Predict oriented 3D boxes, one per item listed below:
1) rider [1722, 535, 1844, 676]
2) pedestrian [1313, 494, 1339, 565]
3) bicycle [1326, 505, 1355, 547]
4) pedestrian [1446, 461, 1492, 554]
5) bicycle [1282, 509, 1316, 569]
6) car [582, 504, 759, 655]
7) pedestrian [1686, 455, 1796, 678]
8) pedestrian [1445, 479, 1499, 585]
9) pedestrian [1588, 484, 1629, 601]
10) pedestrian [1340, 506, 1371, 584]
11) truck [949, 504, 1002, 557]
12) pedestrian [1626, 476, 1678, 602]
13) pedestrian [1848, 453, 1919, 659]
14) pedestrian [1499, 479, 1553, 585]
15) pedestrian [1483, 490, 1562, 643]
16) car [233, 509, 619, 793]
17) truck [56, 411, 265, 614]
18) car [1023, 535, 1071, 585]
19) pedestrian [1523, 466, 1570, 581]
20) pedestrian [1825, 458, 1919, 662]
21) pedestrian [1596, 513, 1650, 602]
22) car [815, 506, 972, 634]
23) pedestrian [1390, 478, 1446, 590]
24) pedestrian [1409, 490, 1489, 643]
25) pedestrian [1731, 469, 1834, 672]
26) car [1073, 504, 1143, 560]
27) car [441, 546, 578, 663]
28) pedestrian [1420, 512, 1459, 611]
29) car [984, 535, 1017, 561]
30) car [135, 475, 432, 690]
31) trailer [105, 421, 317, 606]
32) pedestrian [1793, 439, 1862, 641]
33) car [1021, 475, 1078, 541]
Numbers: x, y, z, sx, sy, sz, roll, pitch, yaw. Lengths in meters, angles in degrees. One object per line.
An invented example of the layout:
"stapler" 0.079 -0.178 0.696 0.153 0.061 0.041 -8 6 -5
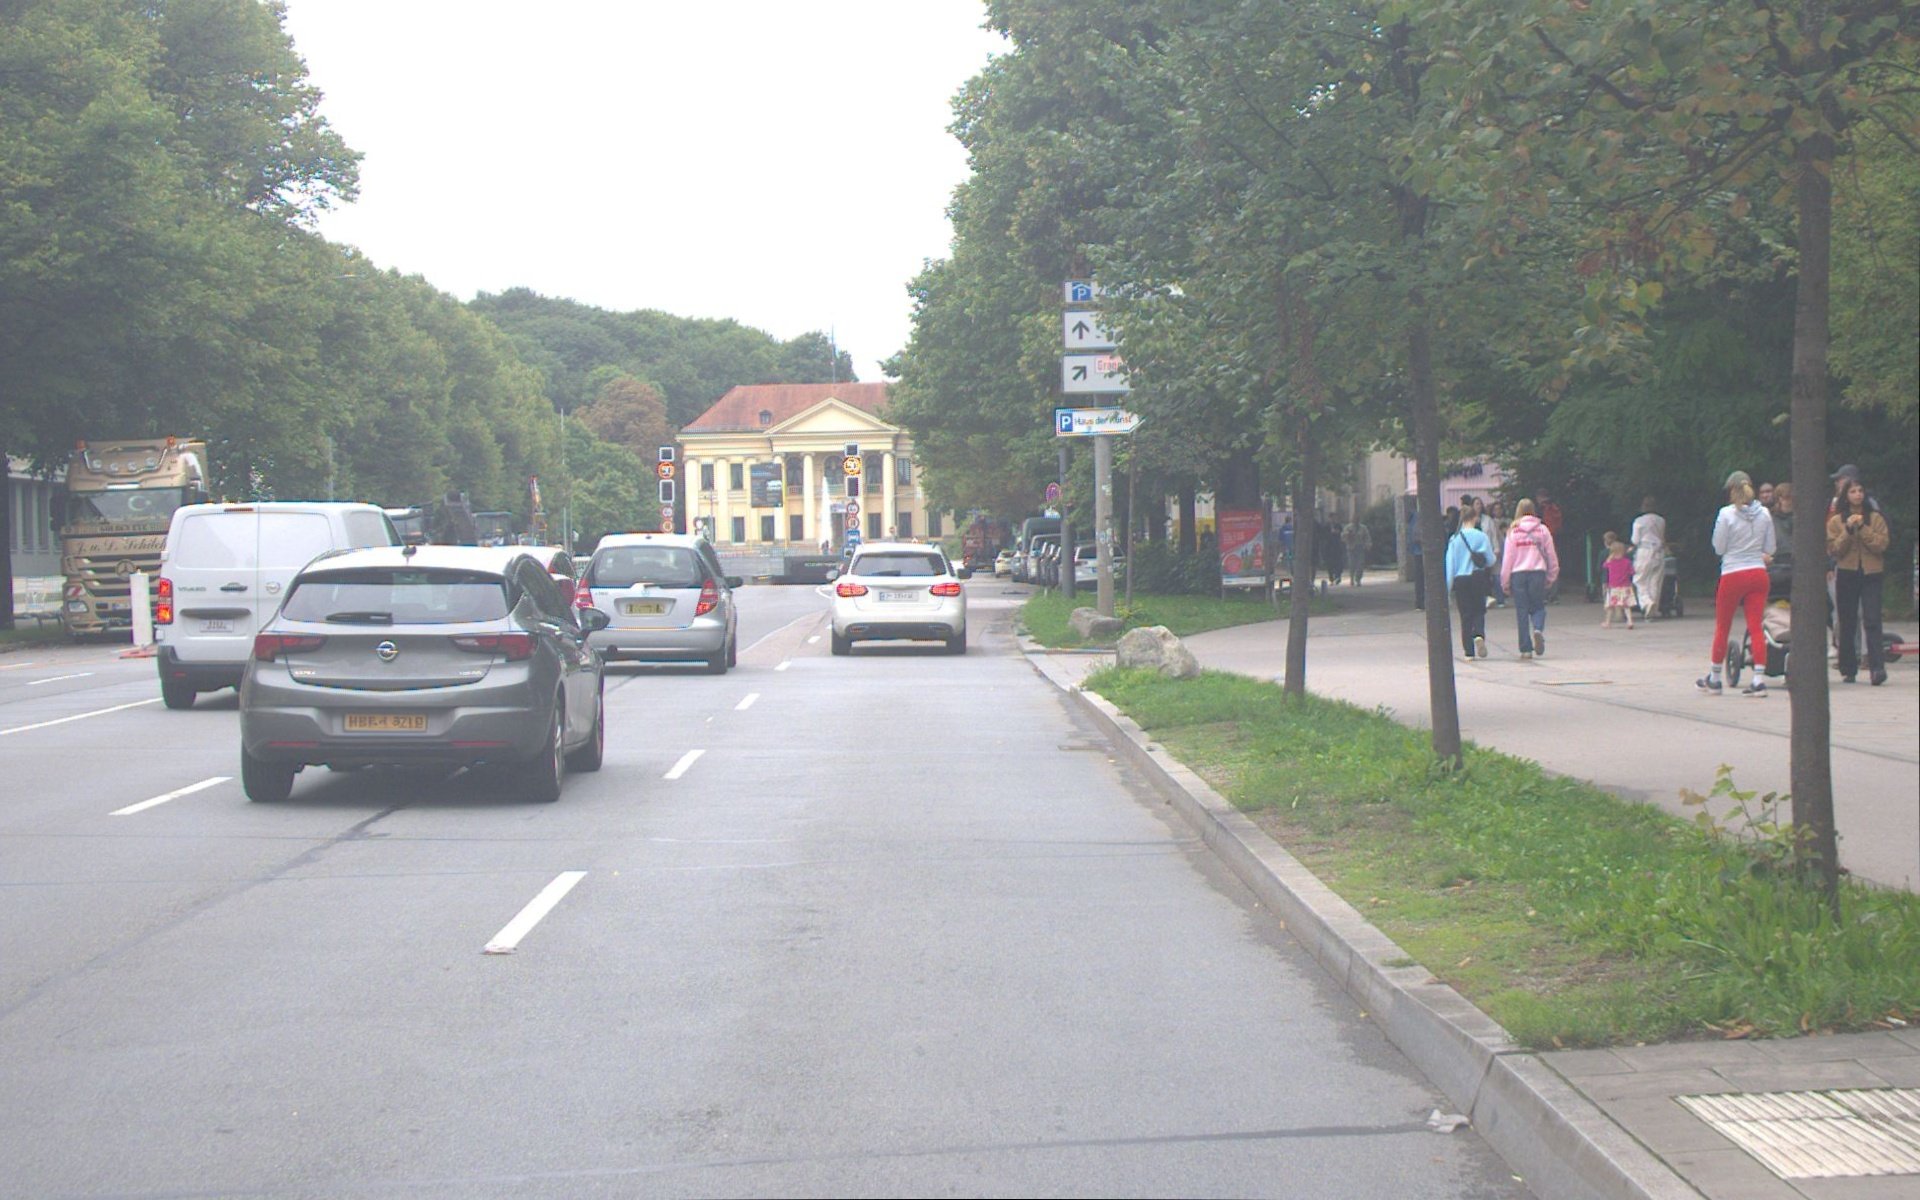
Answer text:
"rider" 6.666 0.031 27.880 0.765 1.108 1.244 0 1 4
"pedestrian" 8.641 -1.662 81.139 0.580 1.669 0.553 0 1 3
"bicycle" 12.954 -2.527 117.073 0.699 1.410 2.299 -2 1 0
"pedestrian" 9.563 -1.728 64.561 0.755 1.731 0.849 0 1 15
"bicycle" 5.867 -1.062 59.557 0.384 1.018 2.079 0 1 0
"car" -3.282 -0.270 39.572 1.779 1.648 4.000 0 1 -1
"pedestrian" 5.982 -0.262 26.361 0.726 1.685 0.648 0 1 5
"pedestrian" 7.965 -1.060 53.422 0.755 1.638 0.650 0 1 15
"pedestrian" 8.716 -0.775 46.186 0.485 1.560 0.572 0 1 15
"pedestrian" 9.026 -1.249 78.478 0.630 1.767 0.782 0 1 3
"truck" 0.949 -4.530 224.006 3.325 3.355 8.663 0 1 0
"pedestrian" 9.233 -0.819 45.852 0.632 1.661 0.572 0 1 15
"pedestrian" 8.502 -0.408 31.652 0.610 1.866 0.692 0 1 16
"pedestrian" 8.841 -1.065 53.694 0.755 1.638 0.690 0 1 15
"pedestrian" 6.108 -0.368 37.295 0.755 1.638 0.849 0 1 15
"car" -3.114 0.231 20.761 1.710 1.546 4.000 0 1 0
"truck" -15.642 -1.713 67.768 2.915 3.761 7.667 0 1 -5
"car" 3.344 -1.560 132.756 1.724 1.861 4.028 -2 1 0
"pedestrian" 9.295 -1.210 54.514 0.588 1.816 0.850 0 1 0
"pedestrian" 7.662 -0.335 28.737 0.726 1.685 0.648 0 1 4
"pedestrian" 8.510 -0.551 44.100 0.632 1.133 0.572 0 1 15
"car" -0.935 -0.426 46.052 1.779 1.639 4.001 0 1 -6
"pedestrian" 7.165 -1.037 53.793 0.755 1.731 0.849 0 1 15
"pedestrian" 5.328 -0.374 37.429 0.755 1.638 0.849 0 1 15
"pedestrian" 6.888 -0.251 28.815 0.726 1.685 0.648 0 1 4
"car" 4.345 -2.015 101.414 1.827 1.544 4.752 -2 1 0
"car" -6.674 0.038 51.285 1.779 1.648 4.001 0 1 -4
"pedestrian" 8.533 -0.687 61.166 0.607 1.757 0.797 0 1 3
"car" 2.167 -2.823 186.411 1.724 1.319 4.028 -2 1 0
"car" -6.317 -0.201 32.666 1.898 1.841 4.956 -1 1 -1
"trailer" -16.216 -1.879 75.243 2.949 3.727 11.773 0 1 -4
"pedestrian" 8.310 -0.580 32.921 0.610 1.908 0.692 0 1 16
"car" 3.585 -3.710 138.864 1.993 2.634 4.878 0 1 -2
